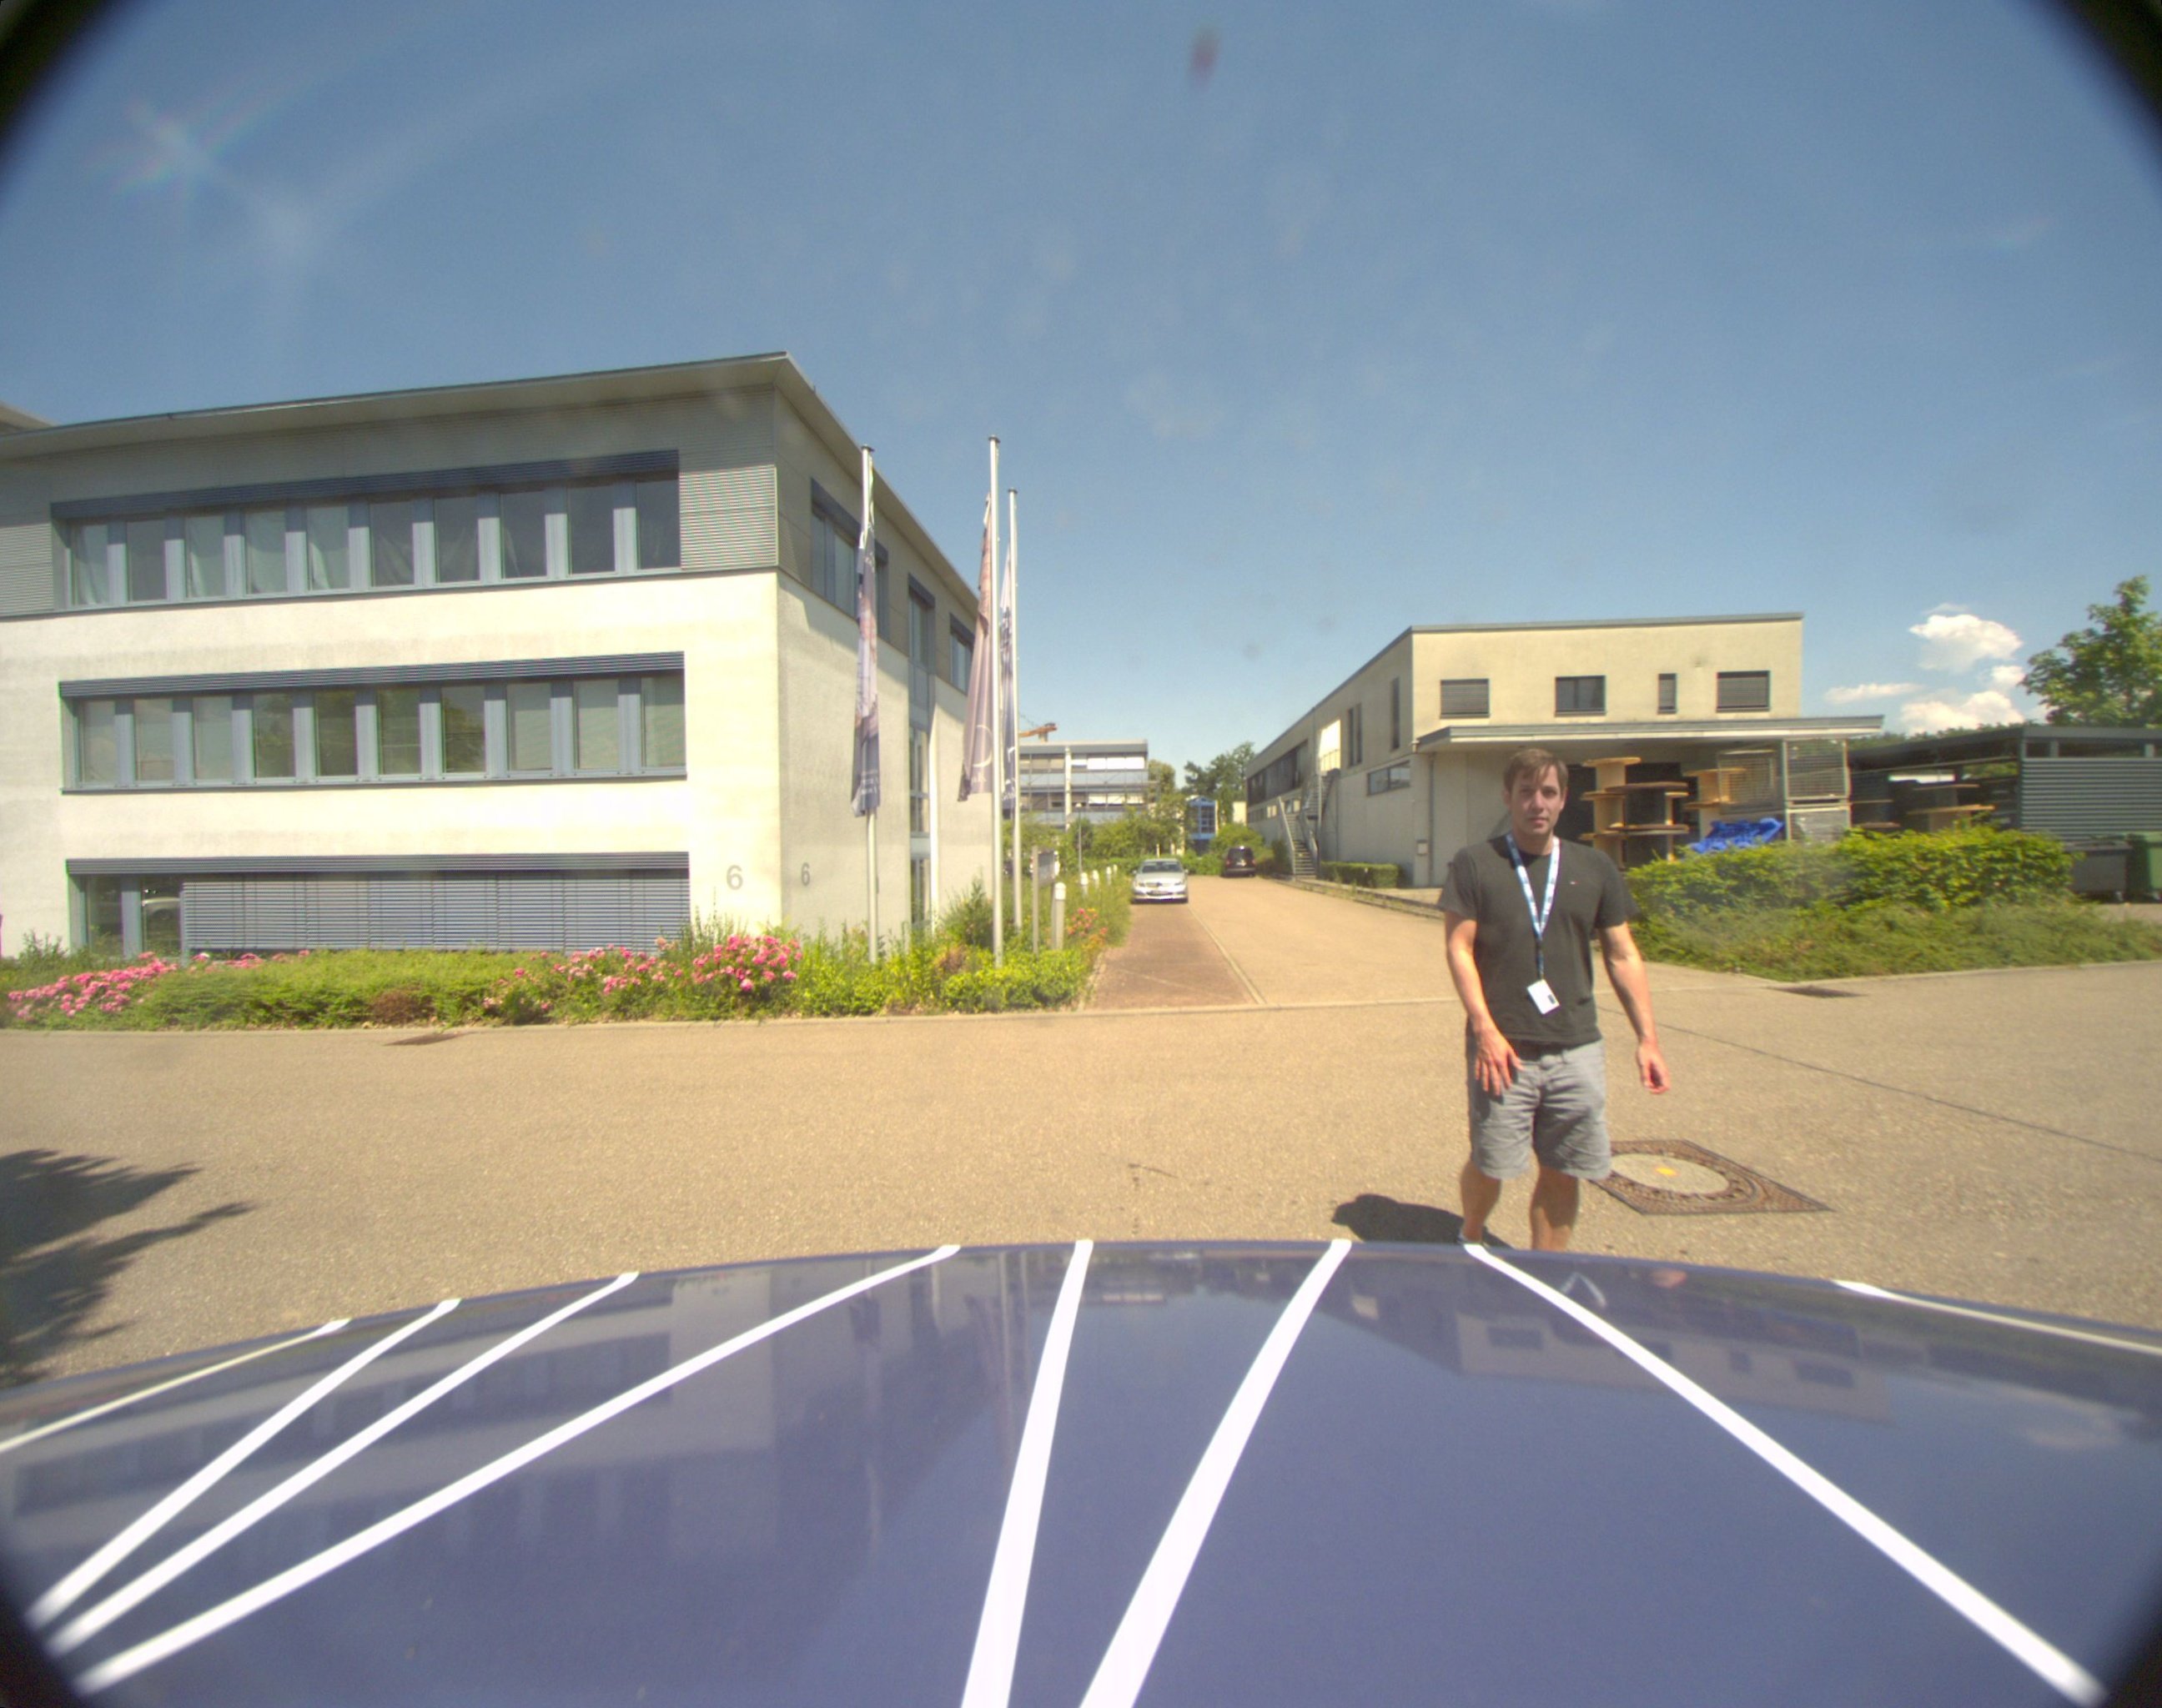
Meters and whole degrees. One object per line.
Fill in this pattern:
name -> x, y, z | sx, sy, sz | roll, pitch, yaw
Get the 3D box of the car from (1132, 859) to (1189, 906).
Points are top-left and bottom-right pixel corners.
car -> 2.718, 0.895, 25.413 | 1.710, 1.383, 3.813 | -1, 1, 9

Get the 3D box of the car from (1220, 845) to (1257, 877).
car -> 9.374, 0.375, 45.449 | 1.786, 1.793, 4.001 | -2, 1, 7

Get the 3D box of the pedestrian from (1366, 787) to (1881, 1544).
pedestrian -> 1.480, 0.757, 2.283 | 0.860, 1.809, 0.904 | -2, 1, 1

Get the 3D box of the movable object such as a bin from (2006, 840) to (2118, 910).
movable object such as a bin -> 18.798, 0.393, 14.586 | 1.071, 1.264, 0.760 | -2, 1, 10

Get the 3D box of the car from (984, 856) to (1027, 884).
car -> -4.565, 0.932, 46.455 | 1.787, 1.537, 4.001 | -2, 1, 5

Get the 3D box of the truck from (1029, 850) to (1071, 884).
truck -> -1.809, 0.719, 45.385 | 1.998, 1.882, 4.001 | -2, 0, 4

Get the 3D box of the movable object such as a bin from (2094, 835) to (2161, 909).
movable object such as a bin -> 20.106, 0.328, 14.257 | 1.071, 1.329, 0.760 | -2, 1, 10

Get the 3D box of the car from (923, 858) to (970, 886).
car -> -8.226, 1.064, 46.833 | 1.787, 1.537, 4.001 | -2, 1, 5
